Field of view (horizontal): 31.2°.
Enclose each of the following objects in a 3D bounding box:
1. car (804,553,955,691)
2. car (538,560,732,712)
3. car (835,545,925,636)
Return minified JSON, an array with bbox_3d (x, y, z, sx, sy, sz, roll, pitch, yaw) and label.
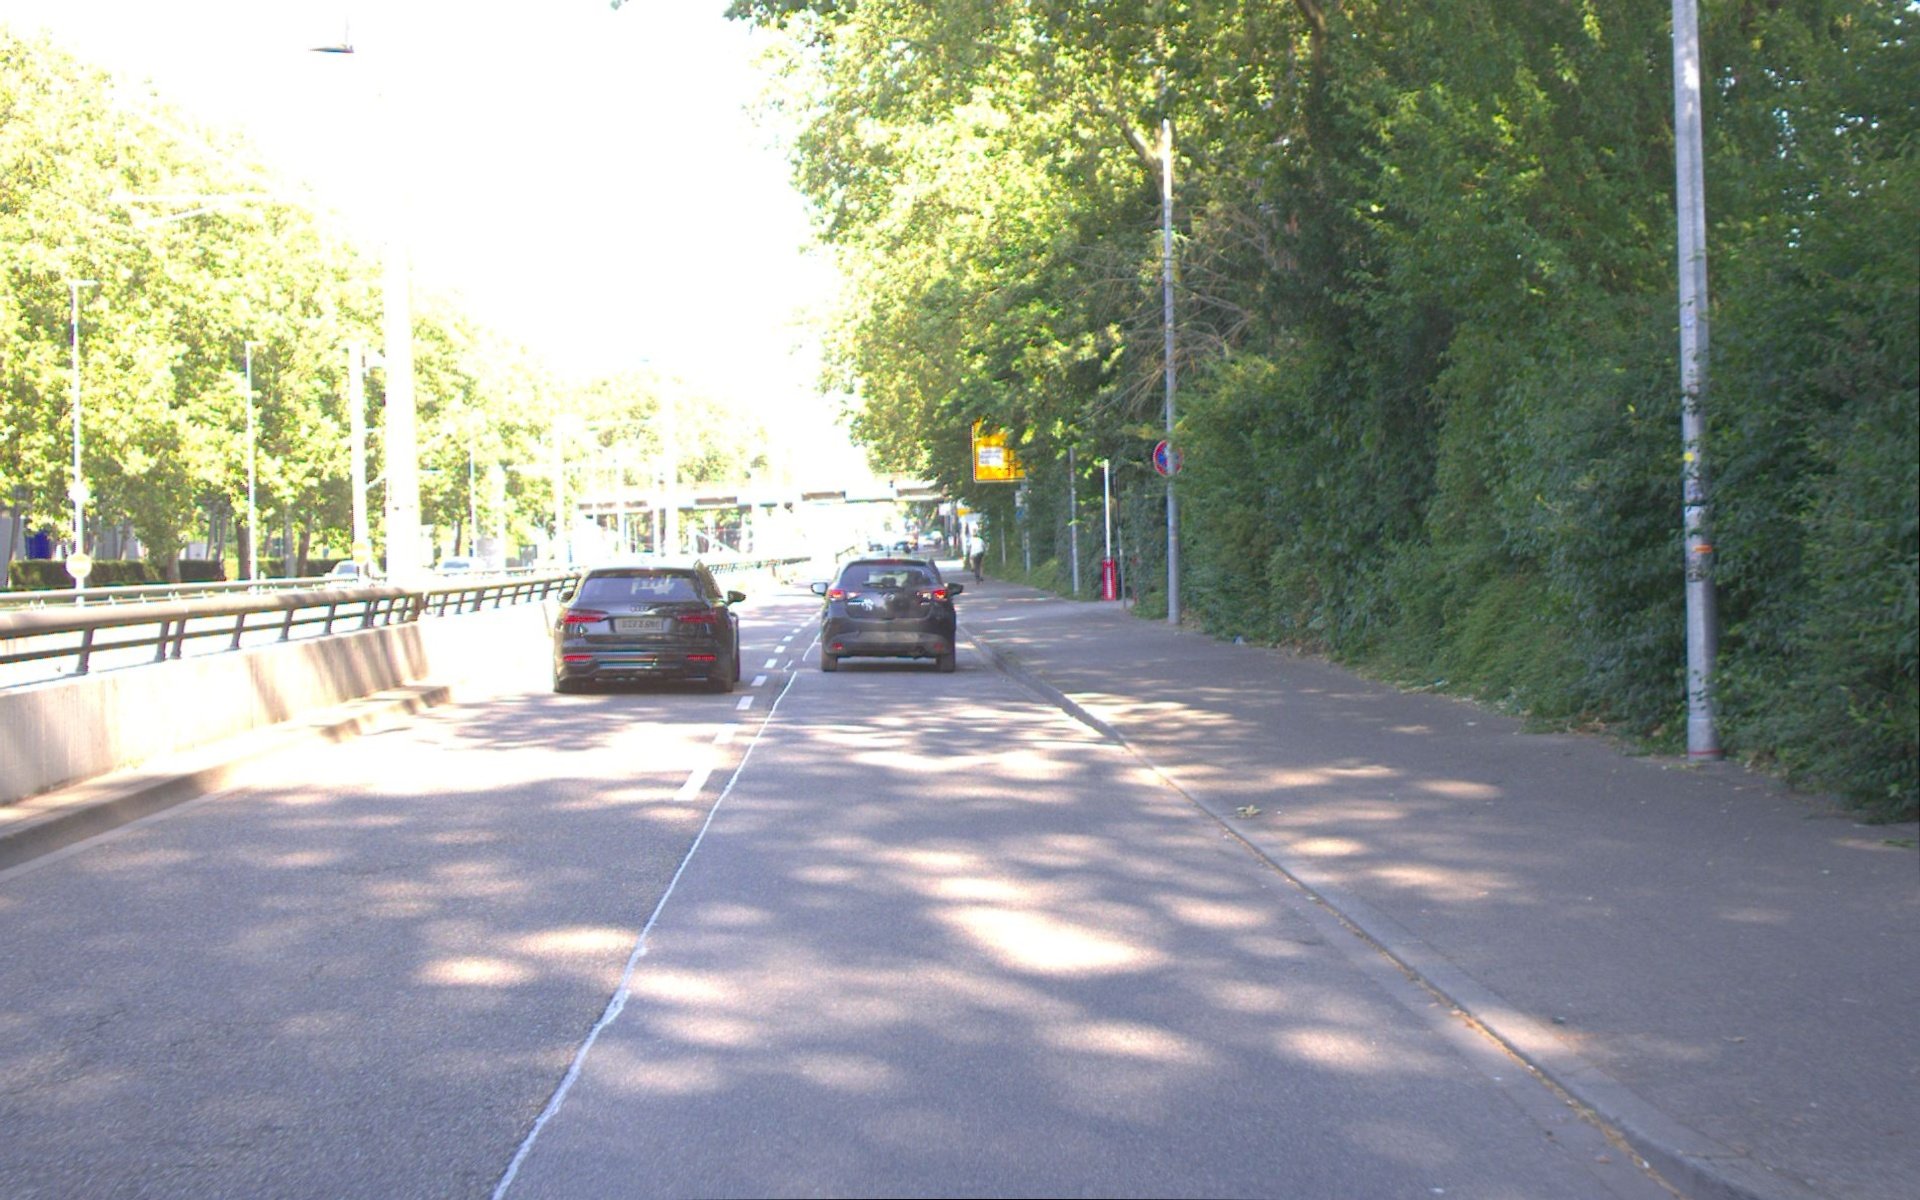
[{"bbox_3d":[-1.076,0.242,44.015,1.762,1.613,4.001,-2,1,-3],"label":"car"},{"bbox_3d":[-3.427,0.345,36.762,1.878,1.452,3.357,-2,1,-3],"label":"car"},{"bbox_3d":[-1.853,-0.246,80.675,1.993,2.007,4.000,-2,1,0],"label":"car"}]
